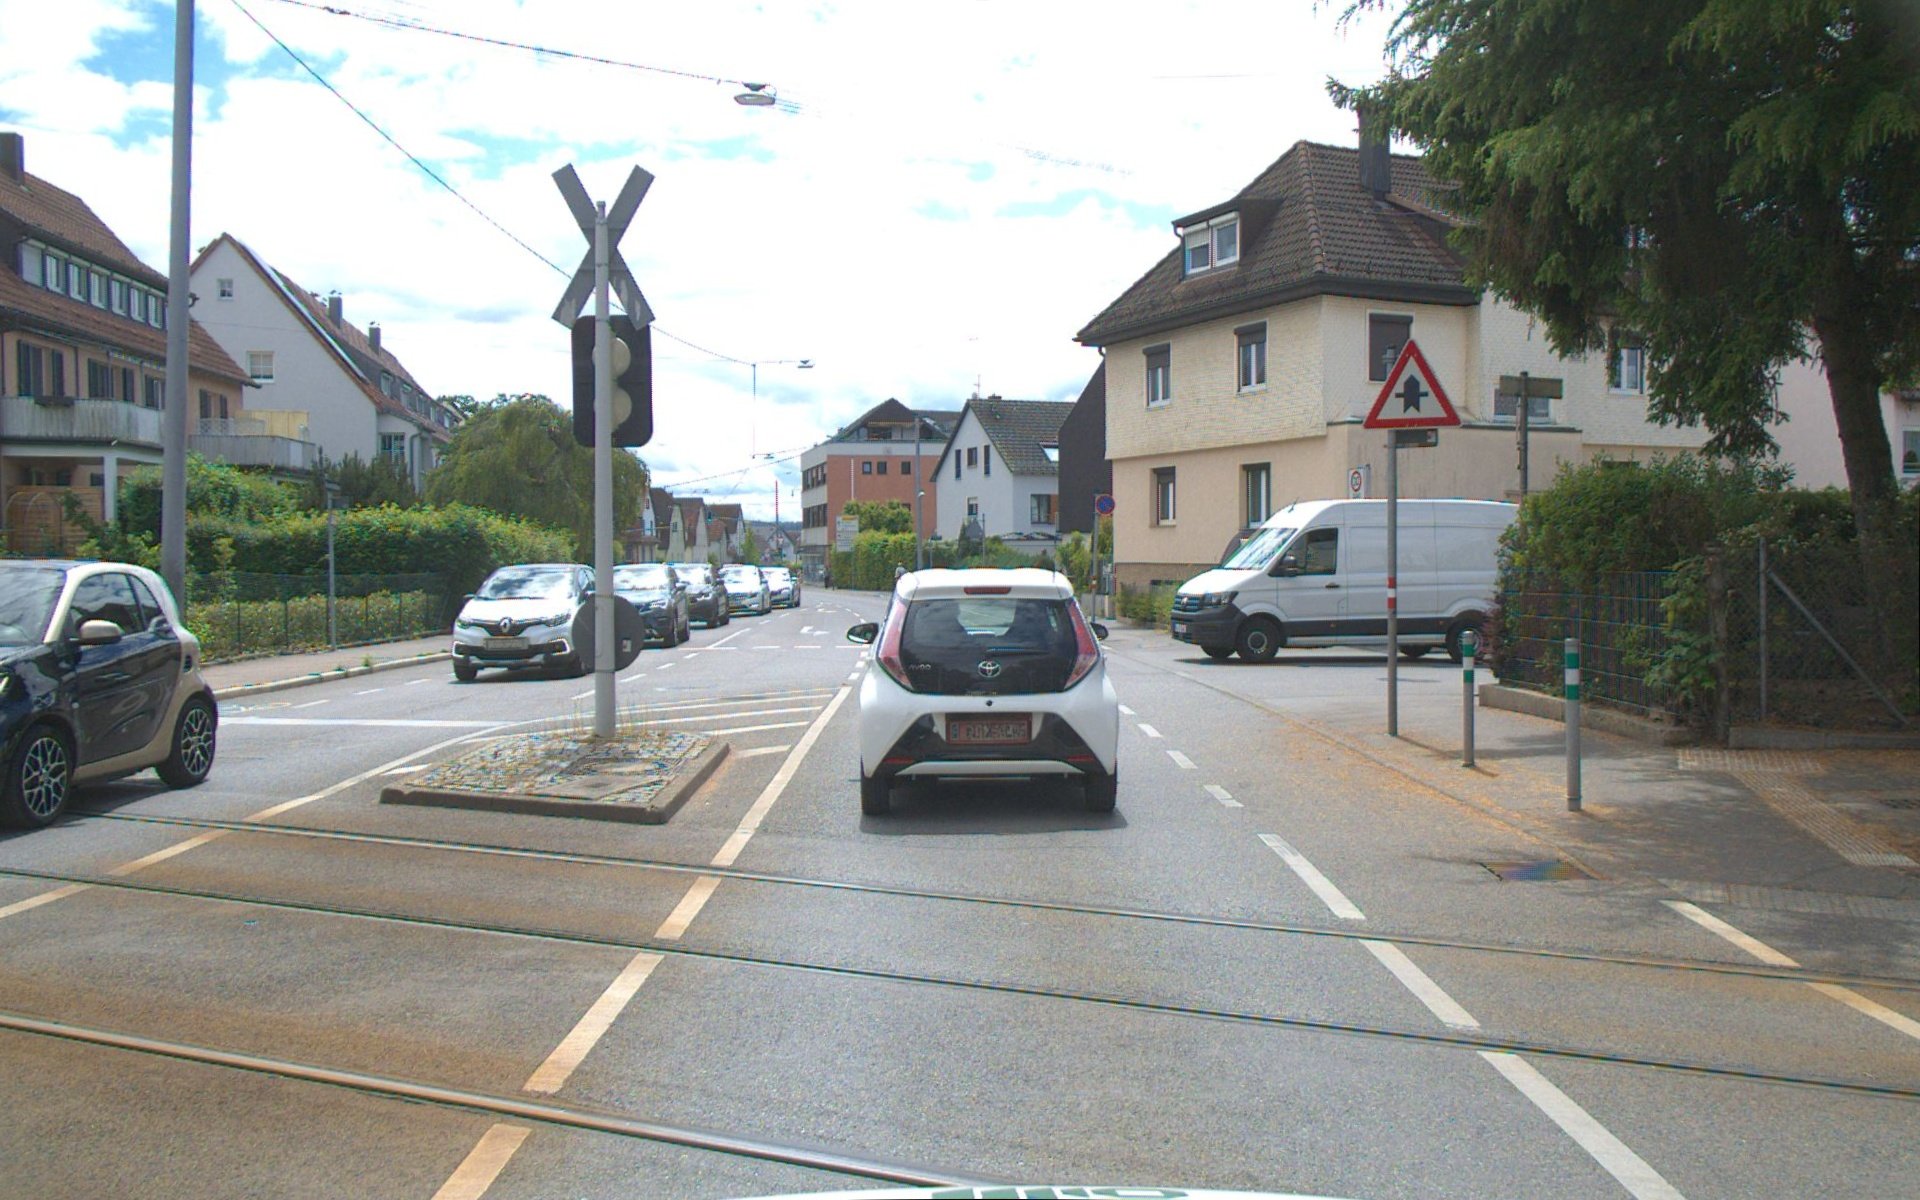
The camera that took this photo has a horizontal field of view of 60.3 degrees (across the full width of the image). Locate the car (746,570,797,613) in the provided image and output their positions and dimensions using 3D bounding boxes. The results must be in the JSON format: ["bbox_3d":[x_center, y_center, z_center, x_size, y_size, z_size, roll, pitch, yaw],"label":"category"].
[{"bbox_3d":[-6.981,-0.323,61.445,1.741,1.455,4.516,-3,1,-6],"label":"car"}]

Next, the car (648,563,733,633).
[{"bbox_3d":[-6.977,-0.071,43.097,1.740,1.631,4.166,-3,1,-4],"label":"car"}]

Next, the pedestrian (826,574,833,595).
[{"bbox_3d":[-8.971,-1.061,113.751,0.405,1.463,0.437,0,1,-10],"label":"pedestrian"}]

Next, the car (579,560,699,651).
[{"bbox_3d":[-6.284,0.085,32.754,1.740,1.631,4.036,-2,1,-3],"label":"car"}]

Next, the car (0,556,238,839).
[{"bbox_3d":[-5.932,0.499,10.386,1.542,1.536,2.788,0,1,0],"label":"car"}]

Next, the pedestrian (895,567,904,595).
[{"bbox_3d":[-3.231,-1.012,87.994,0.406,1.463,0.436,0,1,-15],"label":"pedestrian"}]

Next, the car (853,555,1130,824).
[{"bbox_3d":[0.146,0.462,11.577,1.588,1.512,4.000,-1,2,-1],"label":"car"}]

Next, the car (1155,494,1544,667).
[{"bbox_3d":[6.267,-0.364,26.778,5.893,2.626,1.994,-1,2,-13],"label":"car"}]

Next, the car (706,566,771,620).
[{"bbox_3d":[-7.121,-0.246,53.478,1.740,1.589,4.166,-3,1,-4],"label":"car"}]

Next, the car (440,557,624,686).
[{"bbox_3d":[-6.025,0.263,23.734,1.740,1.631,4.036,-2,1,-3],"label":"car"}]
